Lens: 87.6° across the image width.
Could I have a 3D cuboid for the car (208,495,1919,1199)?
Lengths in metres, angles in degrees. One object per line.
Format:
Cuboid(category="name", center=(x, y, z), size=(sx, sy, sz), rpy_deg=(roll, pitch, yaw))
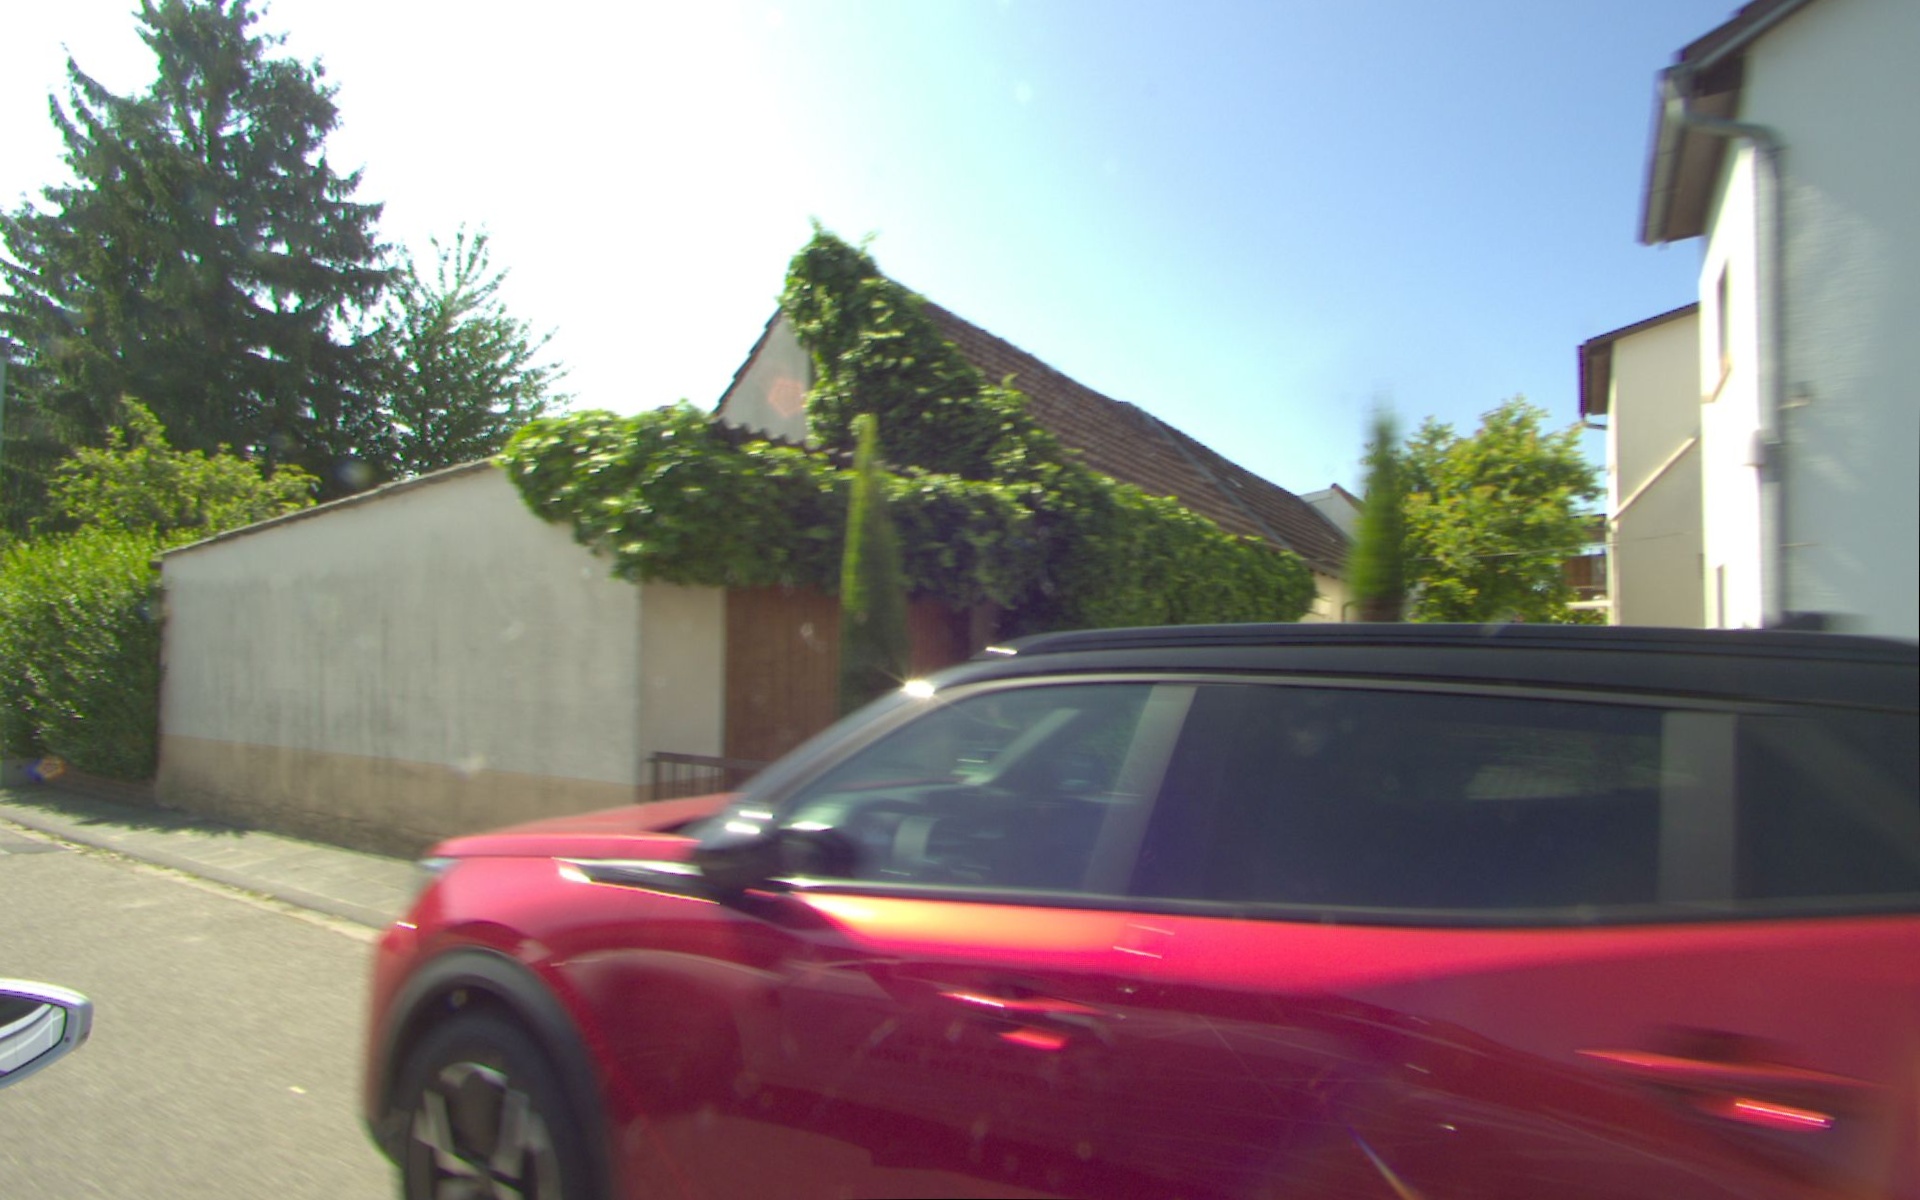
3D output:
Cuboid(category="car", center=(0.202, 0.801, 2.433), size=(3.941, 1.635, 1.822), rpy_deg=(-1, -4, 30))
